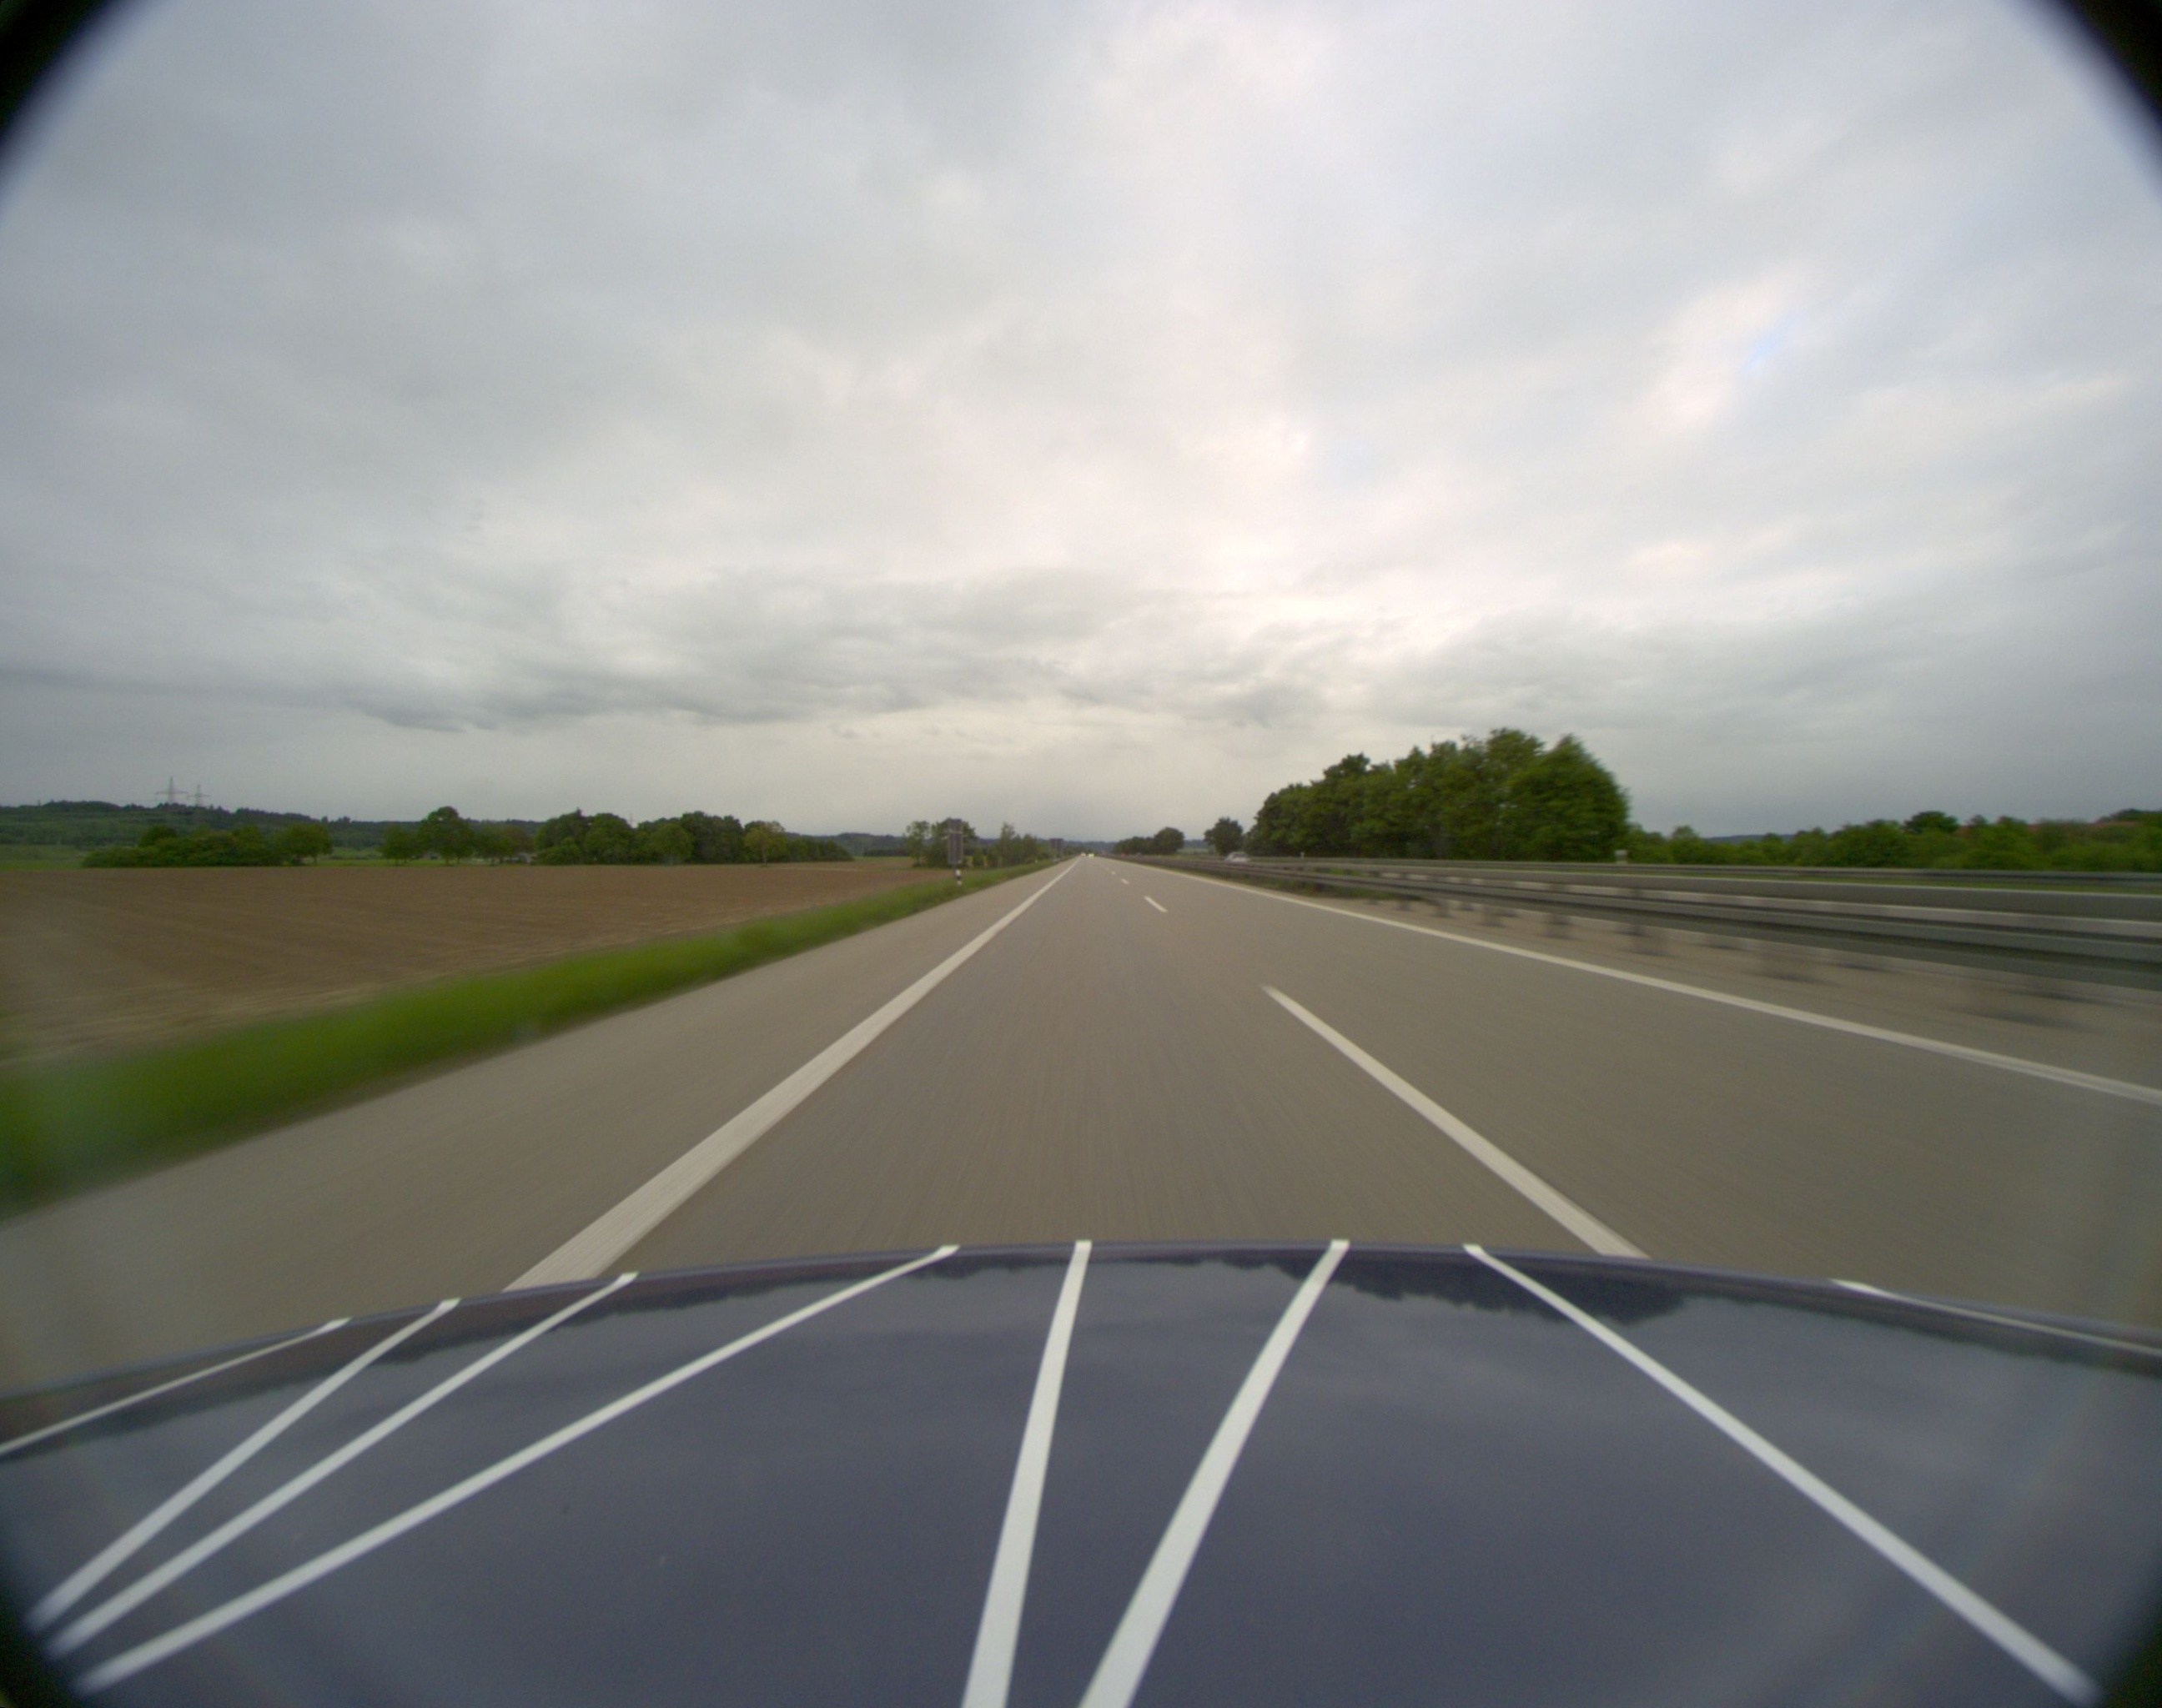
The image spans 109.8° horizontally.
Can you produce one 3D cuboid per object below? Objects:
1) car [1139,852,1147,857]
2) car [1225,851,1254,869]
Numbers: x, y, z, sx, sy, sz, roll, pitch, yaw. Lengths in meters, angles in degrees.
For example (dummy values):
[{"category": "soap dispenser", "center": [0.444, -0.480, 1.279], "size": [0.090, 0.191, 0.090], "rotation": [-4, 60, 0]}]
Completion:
[{"category": "car", "center": [19.230, 0.061, 236.001], "size": [1.998, 1.573, 4.809], "rotation": [-2, 0, 1]}, {"category": "car", "center": [14.891, 0.522, 71.681], "size": [1.745, 1.565, 4.856], "rotation": [-2, 0, 1]}]
